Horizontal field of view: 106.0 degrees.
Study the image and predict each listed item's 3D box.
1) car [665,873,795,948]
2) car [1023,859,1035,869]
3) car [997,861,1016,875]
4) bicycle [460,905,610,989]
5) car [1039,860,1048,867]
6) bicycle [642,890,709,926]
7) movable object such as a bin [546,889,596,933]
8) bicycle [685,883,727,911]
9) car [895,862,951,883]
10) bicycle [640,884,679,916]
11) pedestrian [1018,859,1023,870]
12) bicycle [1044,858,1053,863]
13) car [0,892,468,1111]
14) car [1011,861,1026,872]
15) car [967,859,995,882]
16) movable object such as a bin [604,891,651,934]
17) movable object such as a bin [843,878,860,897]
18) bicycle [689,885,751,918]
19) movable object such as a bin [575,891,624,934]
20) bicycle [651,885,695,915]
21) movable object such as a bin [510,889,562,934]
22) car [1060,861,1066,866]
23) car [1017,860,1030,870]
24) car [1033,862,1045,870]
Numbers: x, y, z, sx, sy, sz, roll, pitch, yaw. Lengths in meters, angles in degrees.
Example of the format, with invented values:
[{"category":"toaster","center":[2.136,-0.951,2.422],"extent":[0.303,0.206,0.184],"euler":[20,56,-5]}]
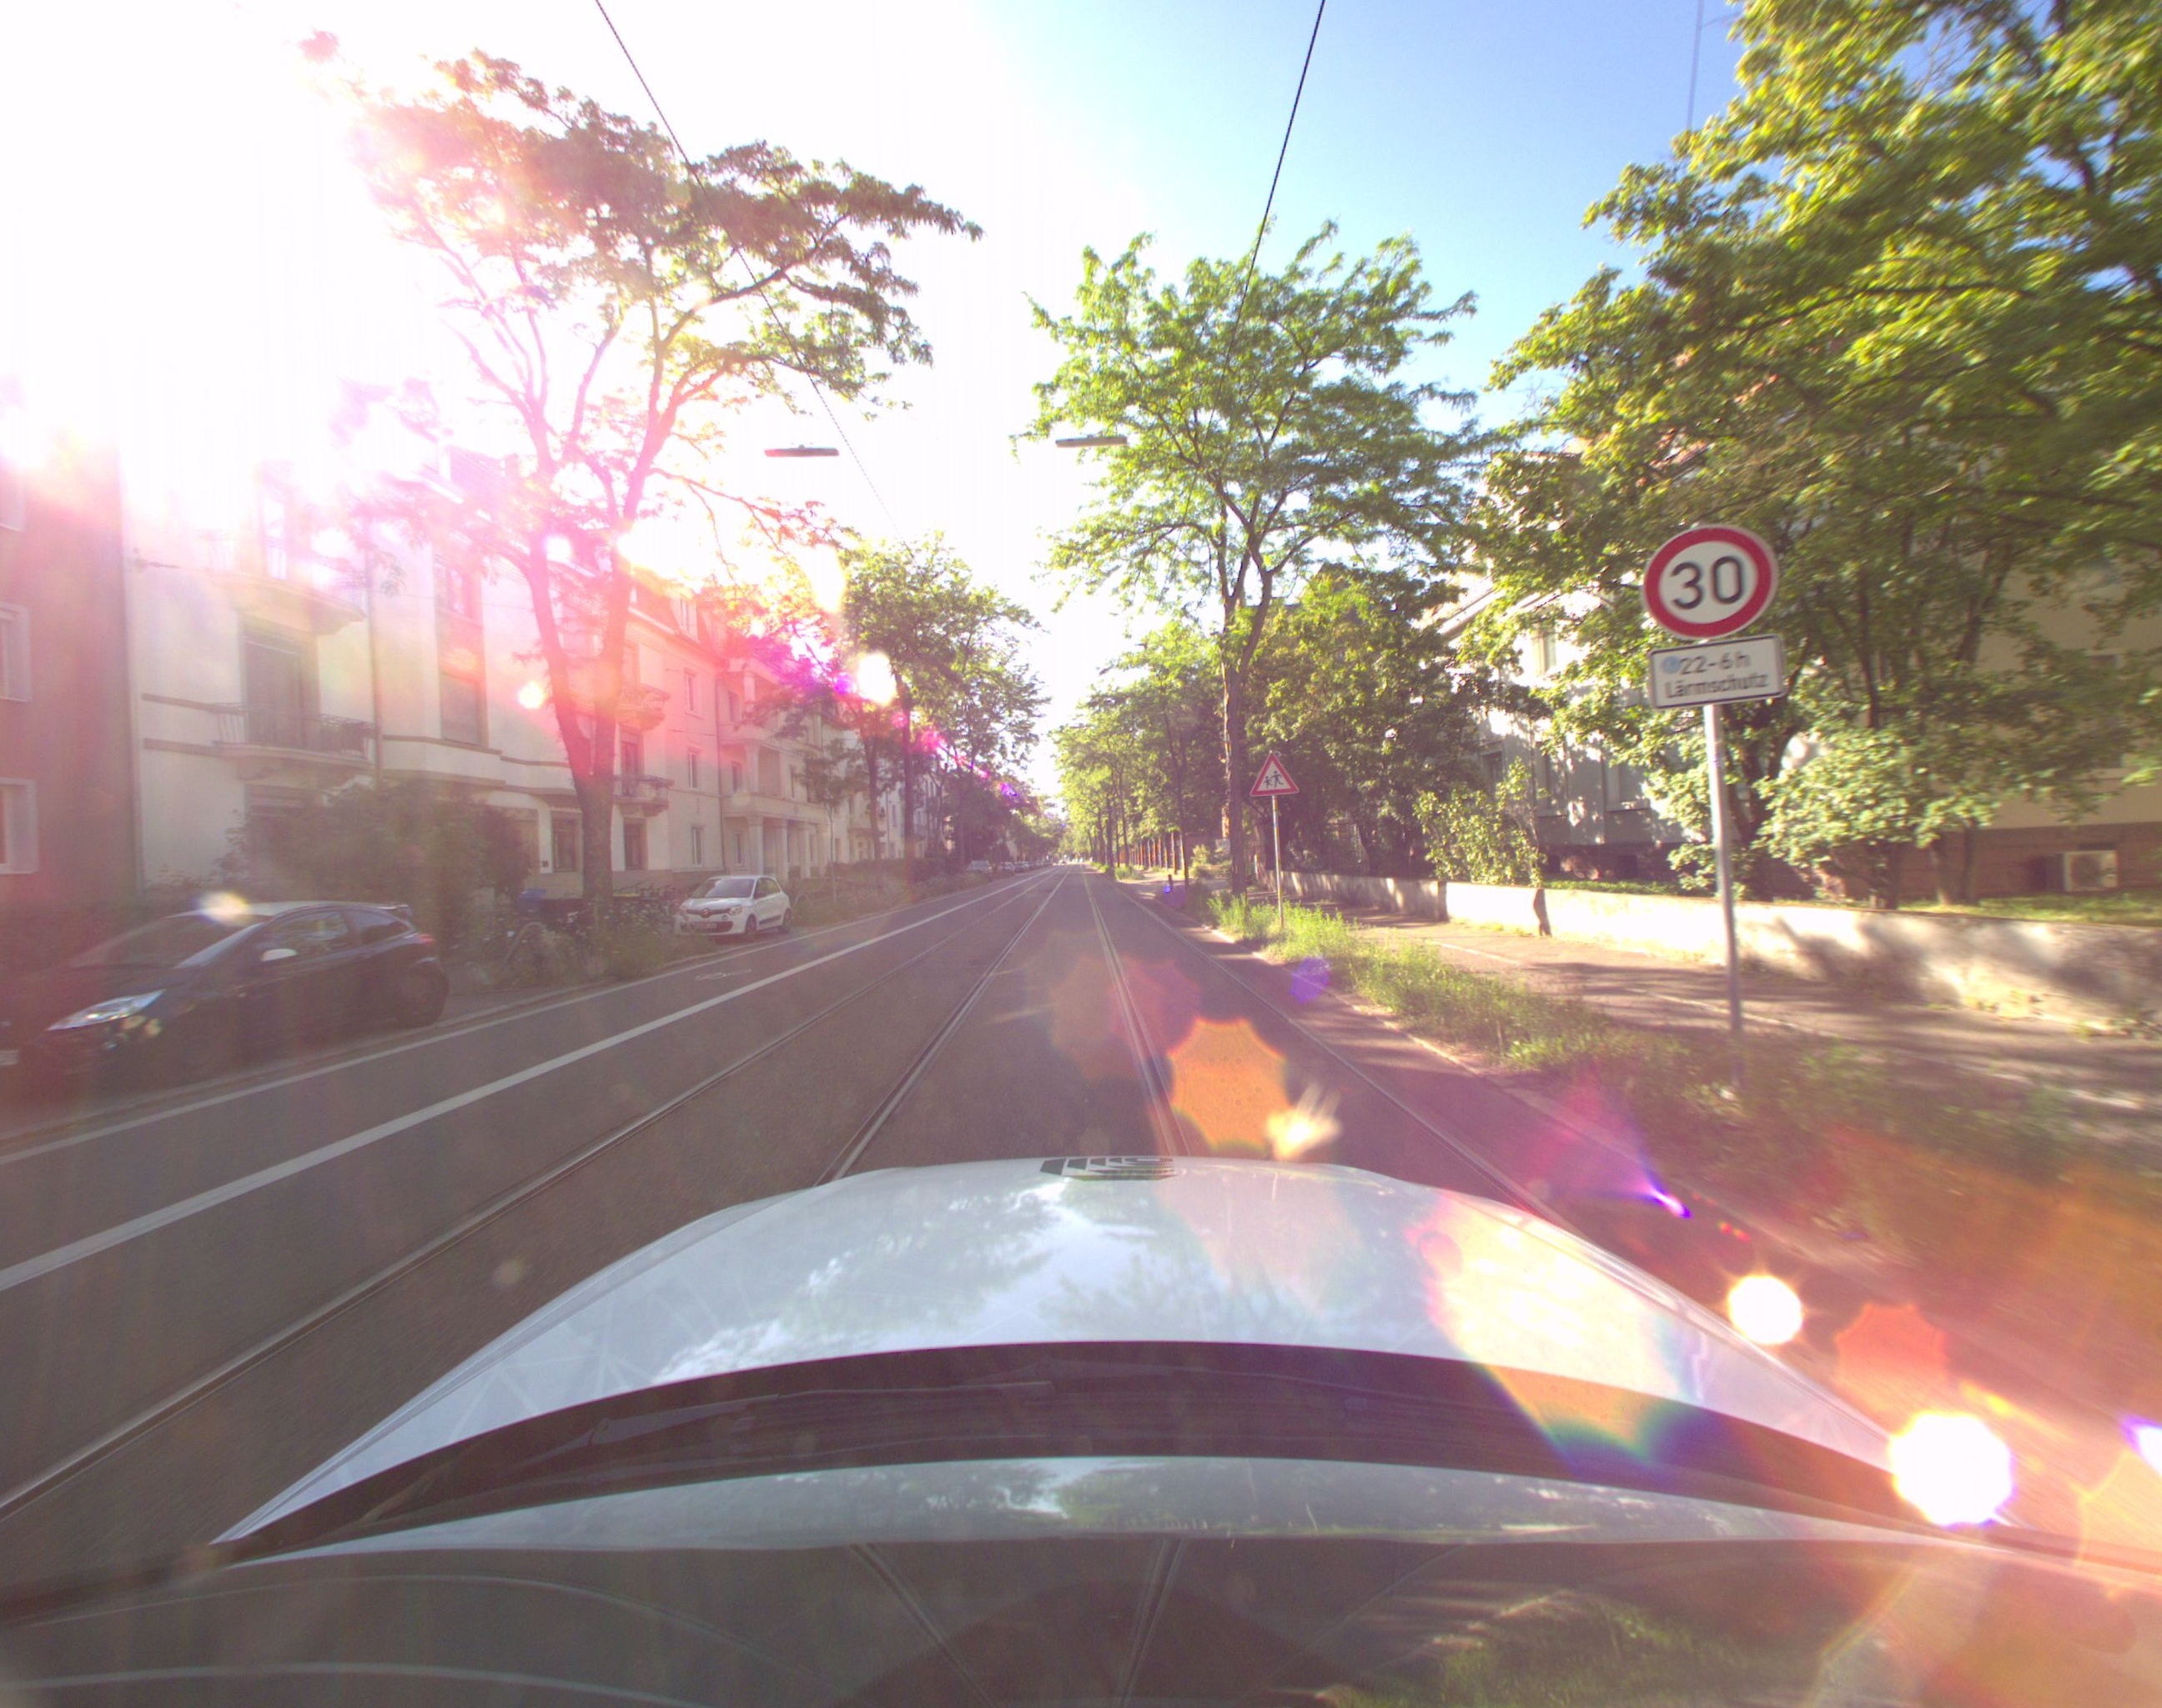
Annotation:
[{"category":"car","center":[-8.399,1.284,19.840],"extent":[1.621,1.535,3.687],"euler":[-2,0,-2]},{"category":"car","center":[-8.542,1.675,134.407],"extent":[1.753,1.511,4.436],"euler":[-1,0,-1]},{"category":"car","center":[-8.567,1.594,93.529],"extent":[1.771,1.541,4.484],"euler":[-1,0,0]},{"category":"bicycle","center":[-8.073,1.368,12.078],"extent":[1.806,1.121,0.543],"euler":[-2,-1,0]},{"category":"car","center":[-7.940,1.945,173.592],"extent":[1.697,1.485,4.078],"euler":[0,0,0]},{"category":"bicycle","center":[-12.983,1.707,26.098],"extent":[1.867,0.996,0.553],"euler":[-3,0,-29]},{"category":"movable object such as a bin","center":[-13.724,1.532,21.925],"extent":[0.735,1.085,0.895],"euler":[-3,0,-1]},{"category":"bicycle","center":[-14.412,1.652,31.241],"extent":[1.838,0.996,0.562],"euler":[-1,1,34]},{"category":"car","center":[-13.356,1.561,69.143],"extent":[4.285,1.661,1.953],"euler":[-1,0,1]},{"category":"bicycle","center":[-14.788,1.599,28.571],"extent":[1.838,0.996,0.562],"euler":[0,1,41]},{"category":"pedestrian","center":[-10.278,1.803,138.071],"extent":[0.689,1.801,0.813],"euler":[-3,-1,-1]},{"category":"bicycle","center":[-8.450,1.770,210.742],"extent":[2.273,1.198,0.560],"euler":[0,0,6]},{"category":"car","center":[-8.121,1.193,7.894],"extent":[1.549,1.454,3.667],"euler":[-2,0,0]},{"category":"car","center":[-8.637,1.722,112.456],"extent":[1.701,1.406,4.331],"euler":[-1,0,-1]},{"category":"car","center":[-8.180,1.315,66.893],"extent":[1.865,1.823,4.767],"euler":[-2,0,-2]},{"category":"movable object such as a bin","center":[-12.206,1.567,21.944],"extent":[0.735,1.041,0.895],"euler":[-3,0,-1]},{"category":"movable object such as a bin","center":[-11.629,1.704,41.338],"extent":[0.626,0.921,0.740],"euler":[-1,-1,0]},{"category":"bicycle","center":[-12.558,1.644,28.350],"extent":[1.873,0.996,0.551],"euler":[-2,-1,-44]},{"category":"movable object such as a bin","center":[-12.959,1.575,21.941],"extent":[0.735,1.054,0.895],"euler":[-3,0,-1]},{"category":"bicycle","center":[-14.794,1.669,29.517],"extent":[1.838,0.996,0.562],"euler":[-1,1,34]},{"category":"movable object such as a bin","center":[-14.643,1.544,21.890],"extent":[0.735,1.113,0.895],"euler":[-3,0,-1]},{"category":"car","center":[-5.718,3.091,256.197],"extent":[1.753,1.439,4.520],"euler":[-2,0,-1]},{"category":"car","center":[-8.785,1.688,124.213],"extent":[1.812,1.511,4.368],"euler":[-1,0,-2]},{"category":"car","center":[-7.579,2.161,147.451],"extent":[1.811,1.485,4.205],"euler":[-1,0,0]}]
